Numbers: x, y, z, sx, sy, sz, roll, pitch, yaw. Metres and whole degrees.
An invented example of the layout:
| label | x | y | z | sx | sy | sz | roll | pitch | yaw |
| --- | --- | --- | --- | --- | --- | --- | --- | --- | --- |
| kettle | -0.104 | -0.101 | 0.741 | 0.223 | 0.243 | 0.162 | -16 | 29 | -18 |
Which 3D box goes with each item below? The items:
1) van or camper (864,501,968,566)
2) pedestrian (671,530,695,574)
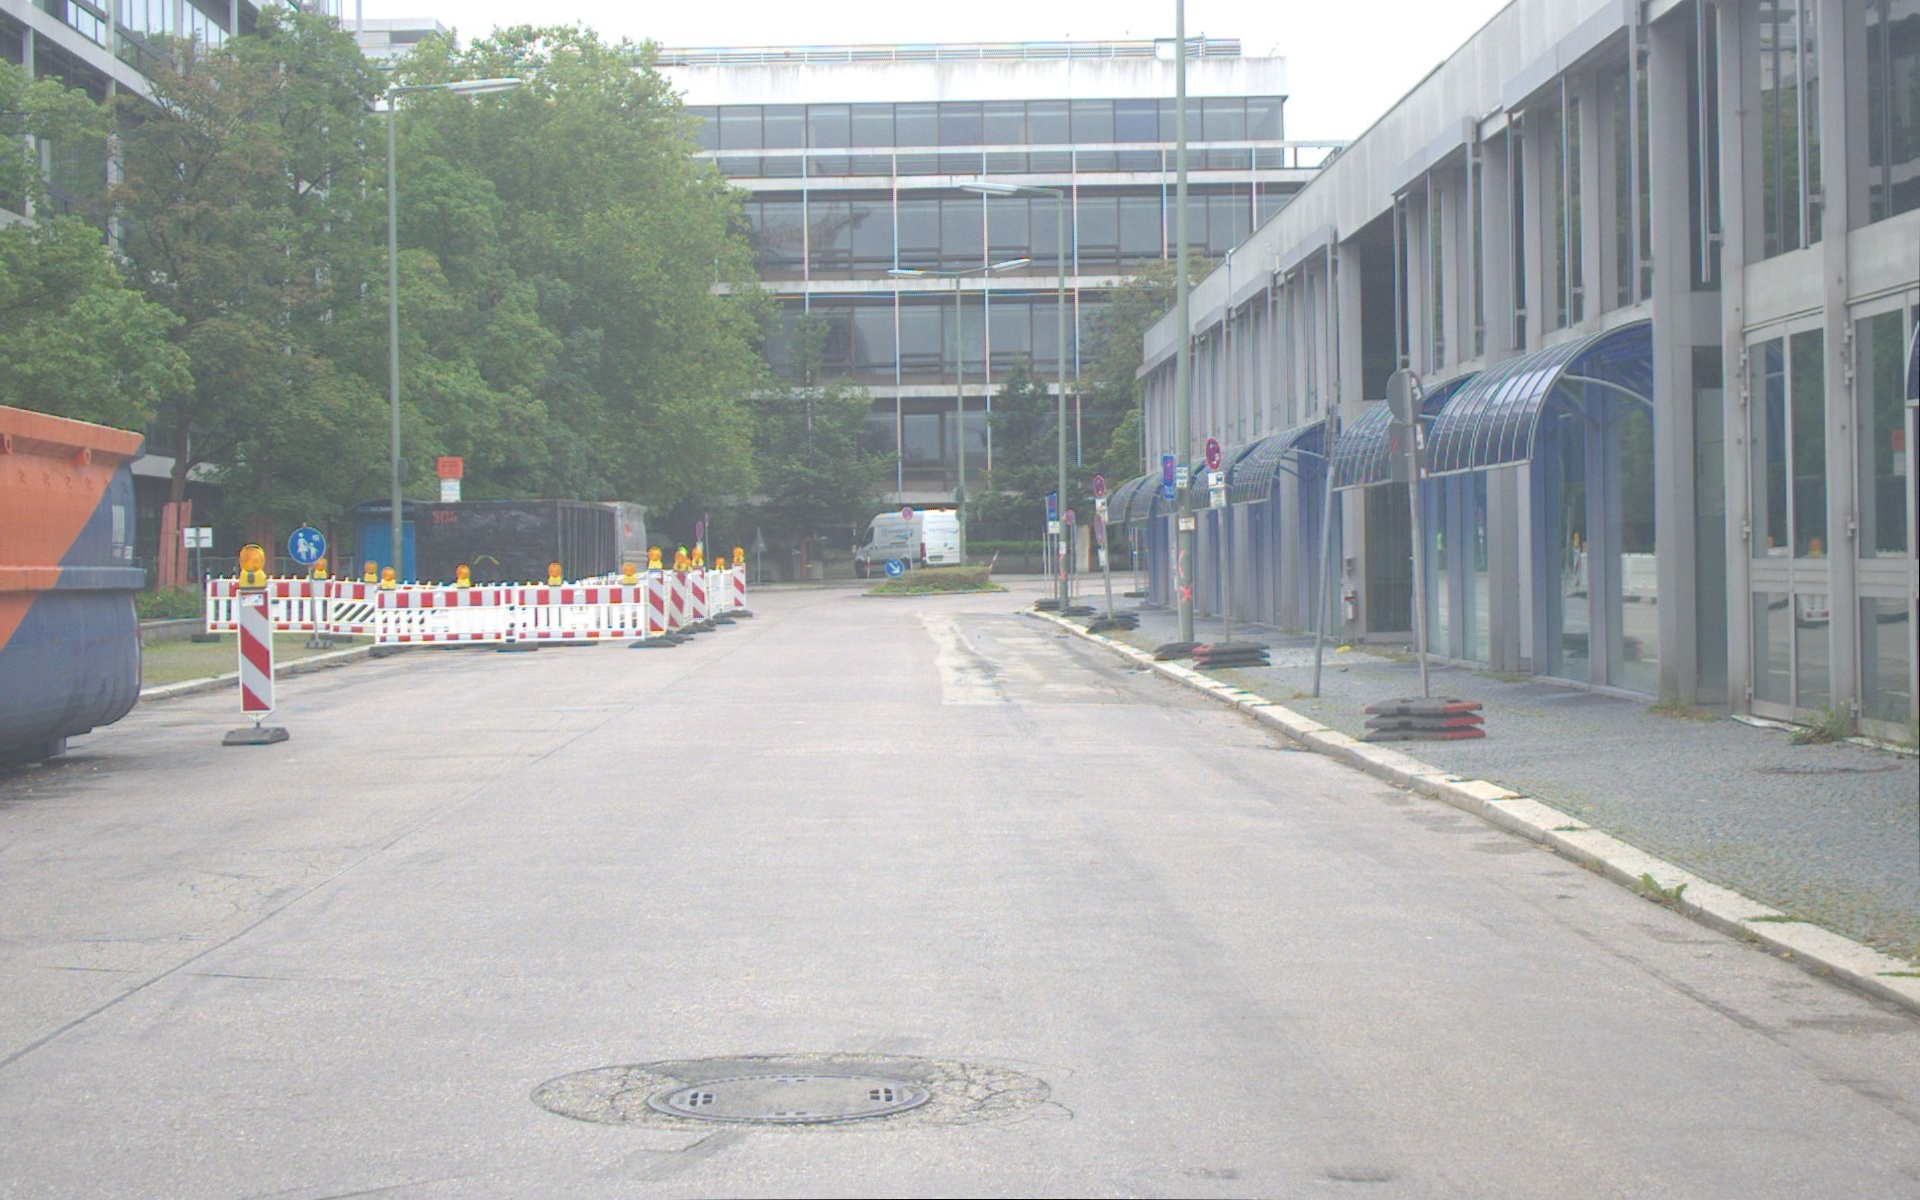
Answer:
| label | x | y | z | sx | sy | sz | roll | pitch | yaw |
| --- | --- | --- | --- | --- | --- | --- | --- | --- | --- |
| van or camper | -1.757 | -2.599 | 134.753 | 2.085 | 2.483 | 5.068 | -1 | 1 | -26 |
| pedestrian | -10.771 | -1.870 | 133.579 | 0.741 | 1.671 | 0.682 | -1 | 1 | -20 |
